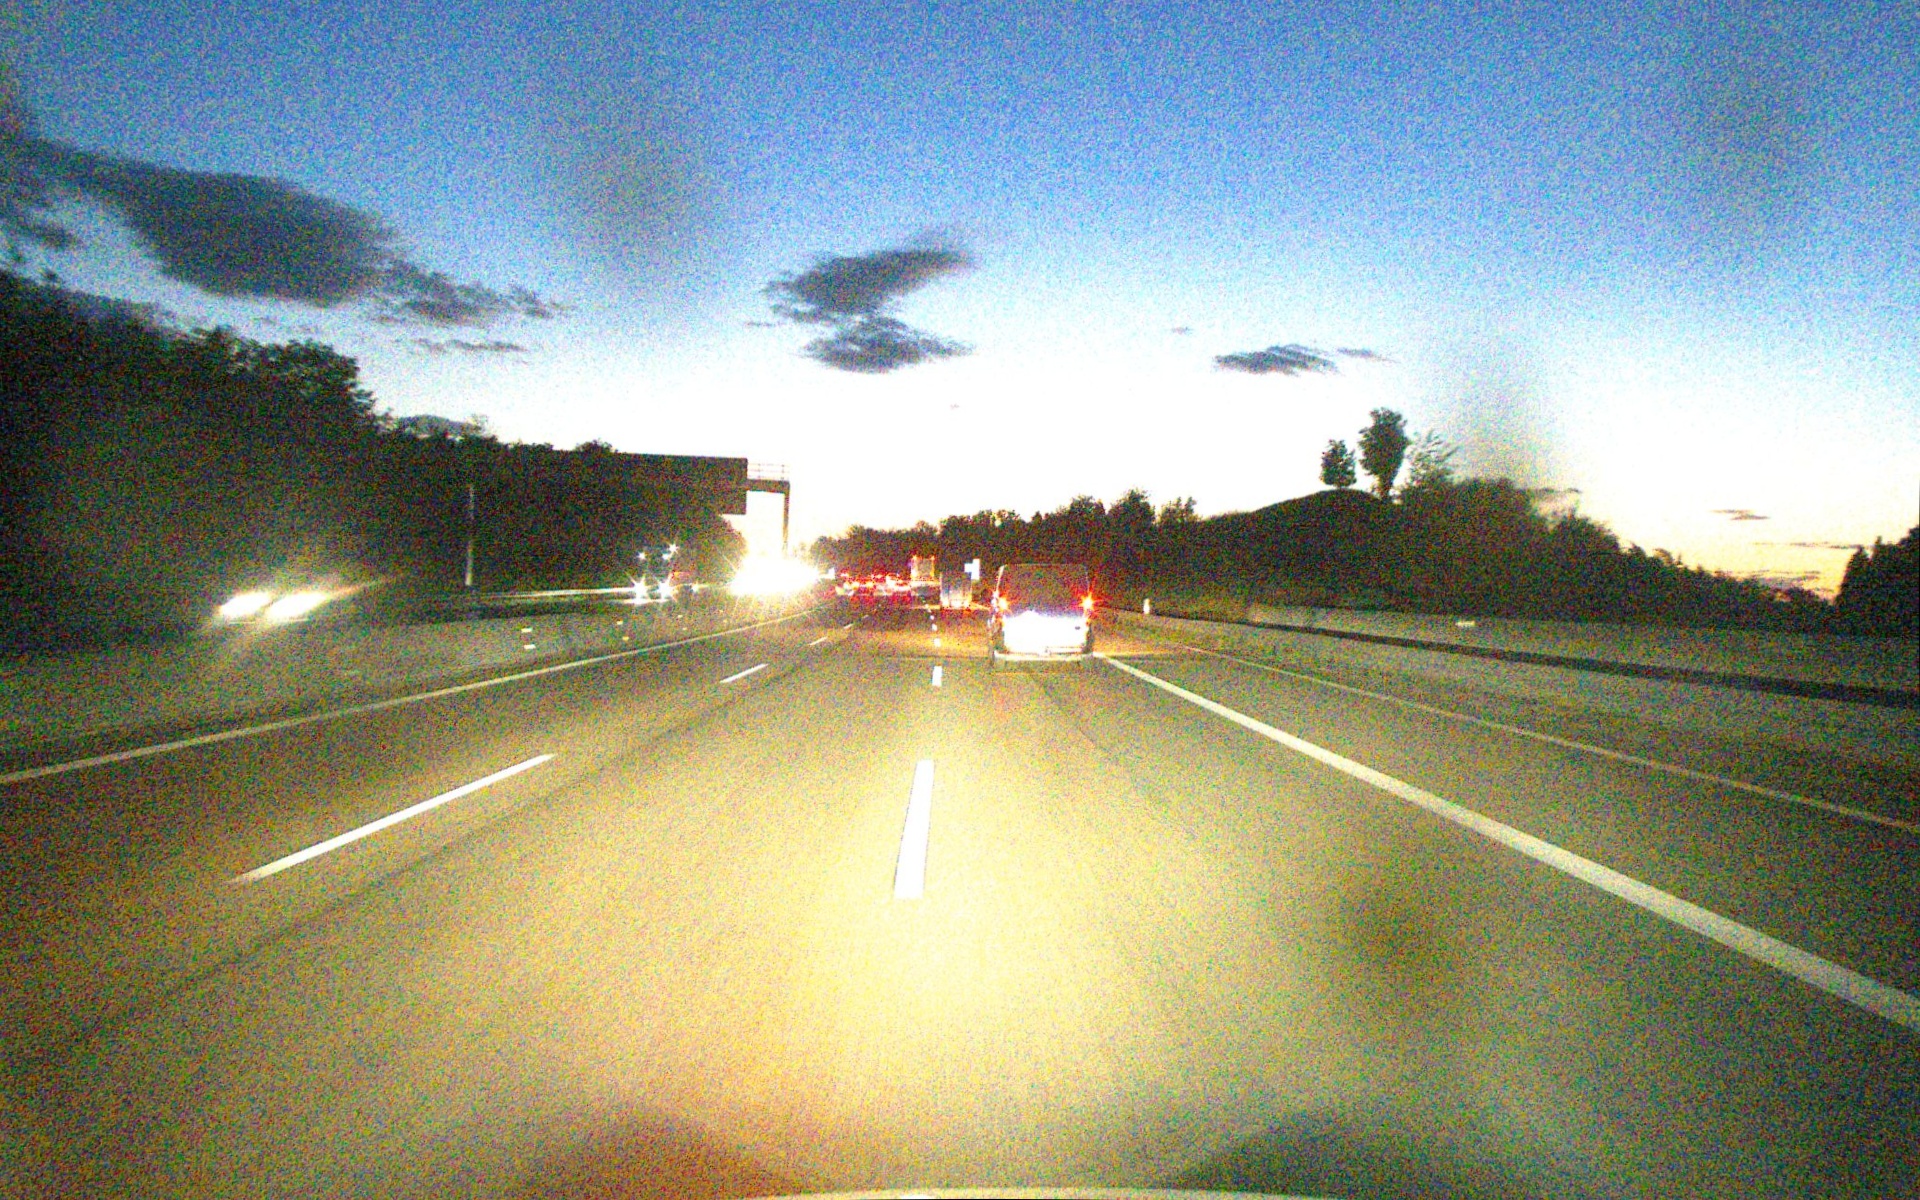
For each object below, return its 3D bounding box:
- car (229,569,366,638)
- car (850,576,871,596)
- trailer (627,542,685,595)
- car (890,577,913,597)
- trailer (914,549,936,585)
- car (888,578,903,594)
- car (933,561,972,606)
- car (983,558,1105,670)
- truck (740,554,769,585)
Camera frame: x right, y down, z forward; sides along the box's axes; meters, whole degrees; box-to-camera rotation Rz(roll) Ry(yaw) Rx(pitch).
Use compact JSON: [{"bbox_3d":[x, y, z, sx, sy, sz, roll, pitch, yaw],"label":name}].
[{"bbox_3d":[-17.459,0.112,43.803,1.785,1.724,4.672,0,-1,-1],"label":"car"},{"bbox_3d":[-9.535,-1.300,158.455,1.954,1.848,3.997,0,-1,-4],"label":"car"},{"bbox_3d":[-24.033,-2.443,131.020,3.361,4.050,7.350,1,1,-2],"label":"trailer"},{"bbox_3d":[-5.798,-1.261,164.058,1.955,1.825,3.995,0,-1,-6],"label":"car"},{"bbox_3d":[-4.896,-4.430,226.223,2.772,4.331,17.040,0,-1,-2],"label":"trailer"},{"bbox_3d":[-8.194,-1.775,210.871,1.953,1.825,3.998,0,-1,-2],"label":"car"},{"bbox_3d":[-0.502,-1.015,102.667,1.992,2.693,5.720,0,1,-4],"label":"car"},{"bbox_3d":[1.584,0.224,33.193,2.072,2.036,5.663,0,1,-1],"label":"car"},{"bbox_3d":[-27.684,-4.063,222.603,3.361,4.050,6.204,1,1,-3],"label":"truck"}]
